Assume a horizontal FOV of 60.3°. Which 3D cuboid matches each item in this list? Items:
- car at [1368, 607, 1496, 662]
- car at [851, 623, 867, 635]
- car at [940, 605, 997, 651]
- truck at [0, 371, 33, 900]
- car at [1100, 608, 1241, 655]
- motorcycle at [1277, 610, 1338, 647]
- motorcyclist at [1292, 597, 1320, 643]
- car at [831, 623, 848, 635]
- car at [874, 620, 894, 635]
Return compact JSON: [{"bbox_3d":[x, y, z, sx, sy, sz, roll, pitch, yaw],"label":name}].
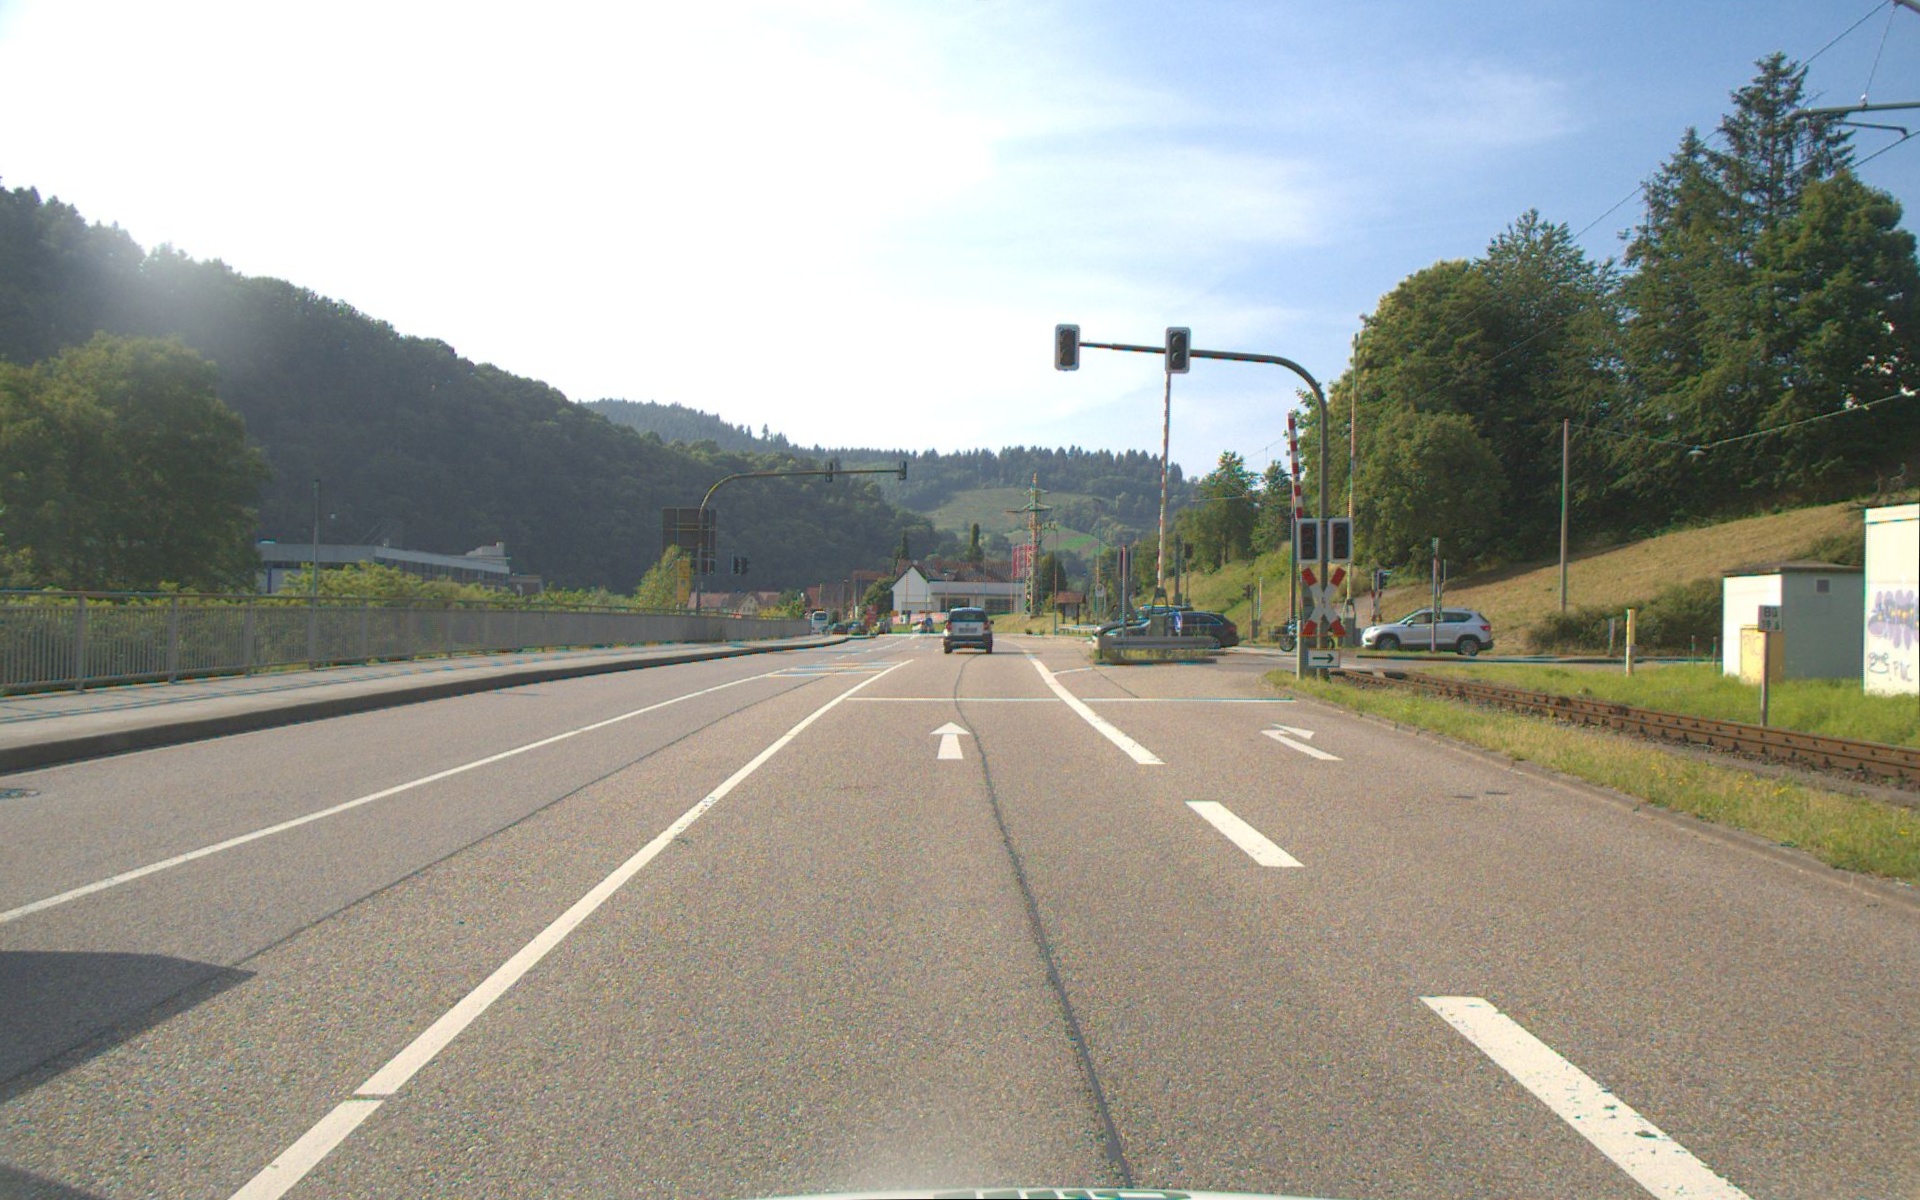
[{"bbox_3d":[15.758,1.144,55.402,4.025,1.716,1.836,1,0,14],"label":"car"},{"bbox_3d":[-11.912,3.420,195.301,1.214,1.460,2.626,-1,0,-18],"label":"car"},{"bbox_3d":[0.353,1.060,61.047,1.822,1.571,4.374,1,-2,4],"label":"car"},{"bbox_3d":[-5.403,0.135,4.838,2.120,2.429,5.852,1,0,-1],"label":"truck"},{"bbox_3d":[7.097,1.059,56.119,4.627,1.496,1.842,-1,-1,3],"label":"car"},{"bbox_3d":[12.620,1.039,60.054,2.049,1.276,0.799,1,0,19],"label":"motorcycle"},{"bbox_3d":[12.574,0.721,60.074,0.887,1.625,0.766,1,-1,17],"label":"motorcyclist"},{"bbox_3d":[-15.582,3.740,213.441,1.431,1.460,2.920,1,0,-18],"label":"car"},{"bbox_3d":[-8.239,2.999,180.314,1.431,1.460,2.920,1,0,-18],"label":"car"}]
